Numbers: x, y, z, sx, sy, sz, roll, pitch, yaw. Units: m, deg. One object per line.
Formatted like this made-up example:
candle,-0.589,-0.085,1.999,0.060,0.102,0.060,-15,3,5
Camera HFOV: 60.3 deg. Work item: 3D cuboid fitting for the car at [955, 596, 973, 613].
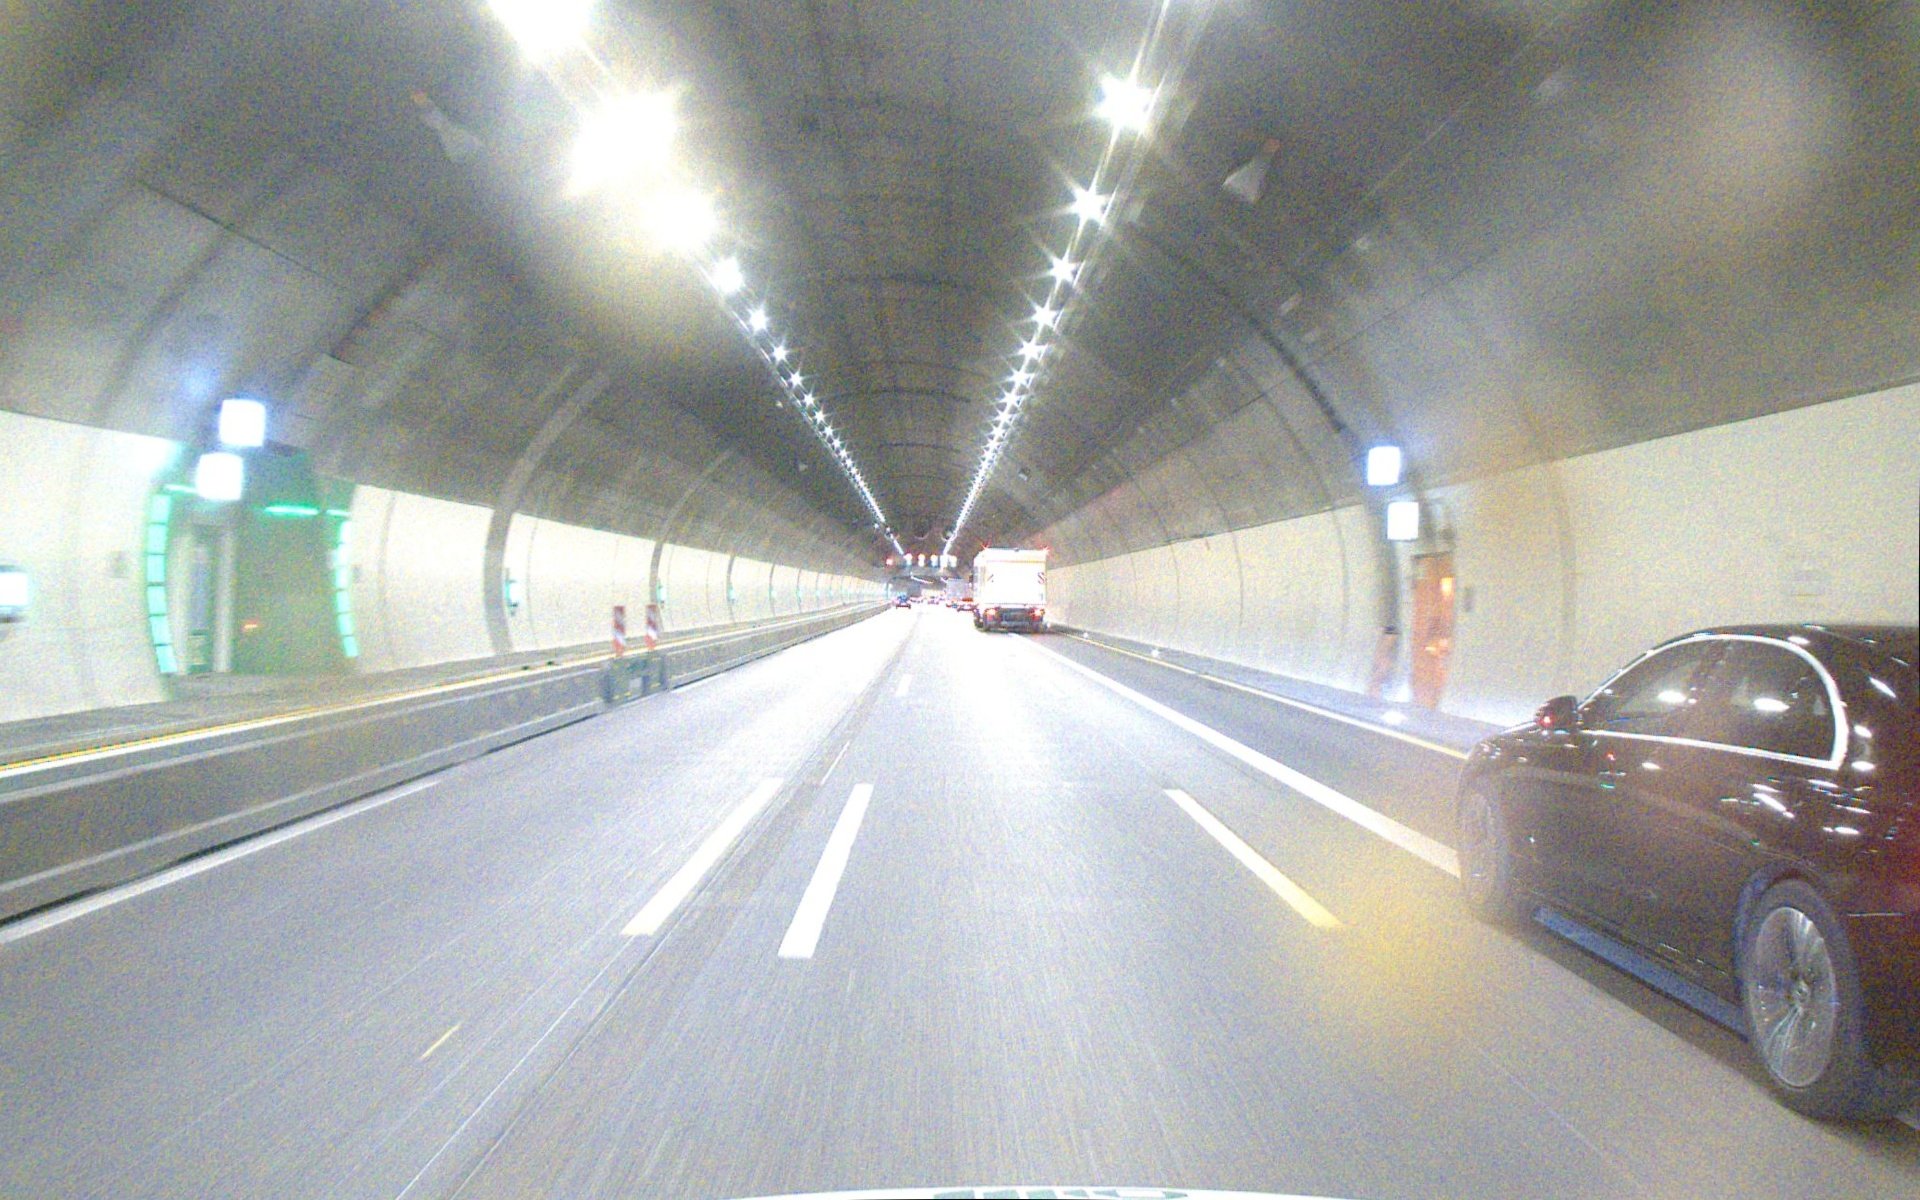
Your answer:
car,0.404,0.415,160.793,1.704,1.486,3.960,2,1,0

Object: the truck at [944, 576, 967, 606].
truck,-0.616,-1.225,238.061,3.003,3.986,10.367,2,-1,0

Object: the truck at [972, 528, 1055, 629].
truck,2.225,-0.807,72.287,3.029,3.986,10.365,2,-1,-1

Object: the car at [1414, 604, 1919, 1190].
car,3.396,0.794,6.299,1.886,1.498,4.953,2,0,-1

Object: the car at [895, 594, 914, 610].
car,-5.643,0.195,168.402,1.723,1.486,4.118,2,1,-1
